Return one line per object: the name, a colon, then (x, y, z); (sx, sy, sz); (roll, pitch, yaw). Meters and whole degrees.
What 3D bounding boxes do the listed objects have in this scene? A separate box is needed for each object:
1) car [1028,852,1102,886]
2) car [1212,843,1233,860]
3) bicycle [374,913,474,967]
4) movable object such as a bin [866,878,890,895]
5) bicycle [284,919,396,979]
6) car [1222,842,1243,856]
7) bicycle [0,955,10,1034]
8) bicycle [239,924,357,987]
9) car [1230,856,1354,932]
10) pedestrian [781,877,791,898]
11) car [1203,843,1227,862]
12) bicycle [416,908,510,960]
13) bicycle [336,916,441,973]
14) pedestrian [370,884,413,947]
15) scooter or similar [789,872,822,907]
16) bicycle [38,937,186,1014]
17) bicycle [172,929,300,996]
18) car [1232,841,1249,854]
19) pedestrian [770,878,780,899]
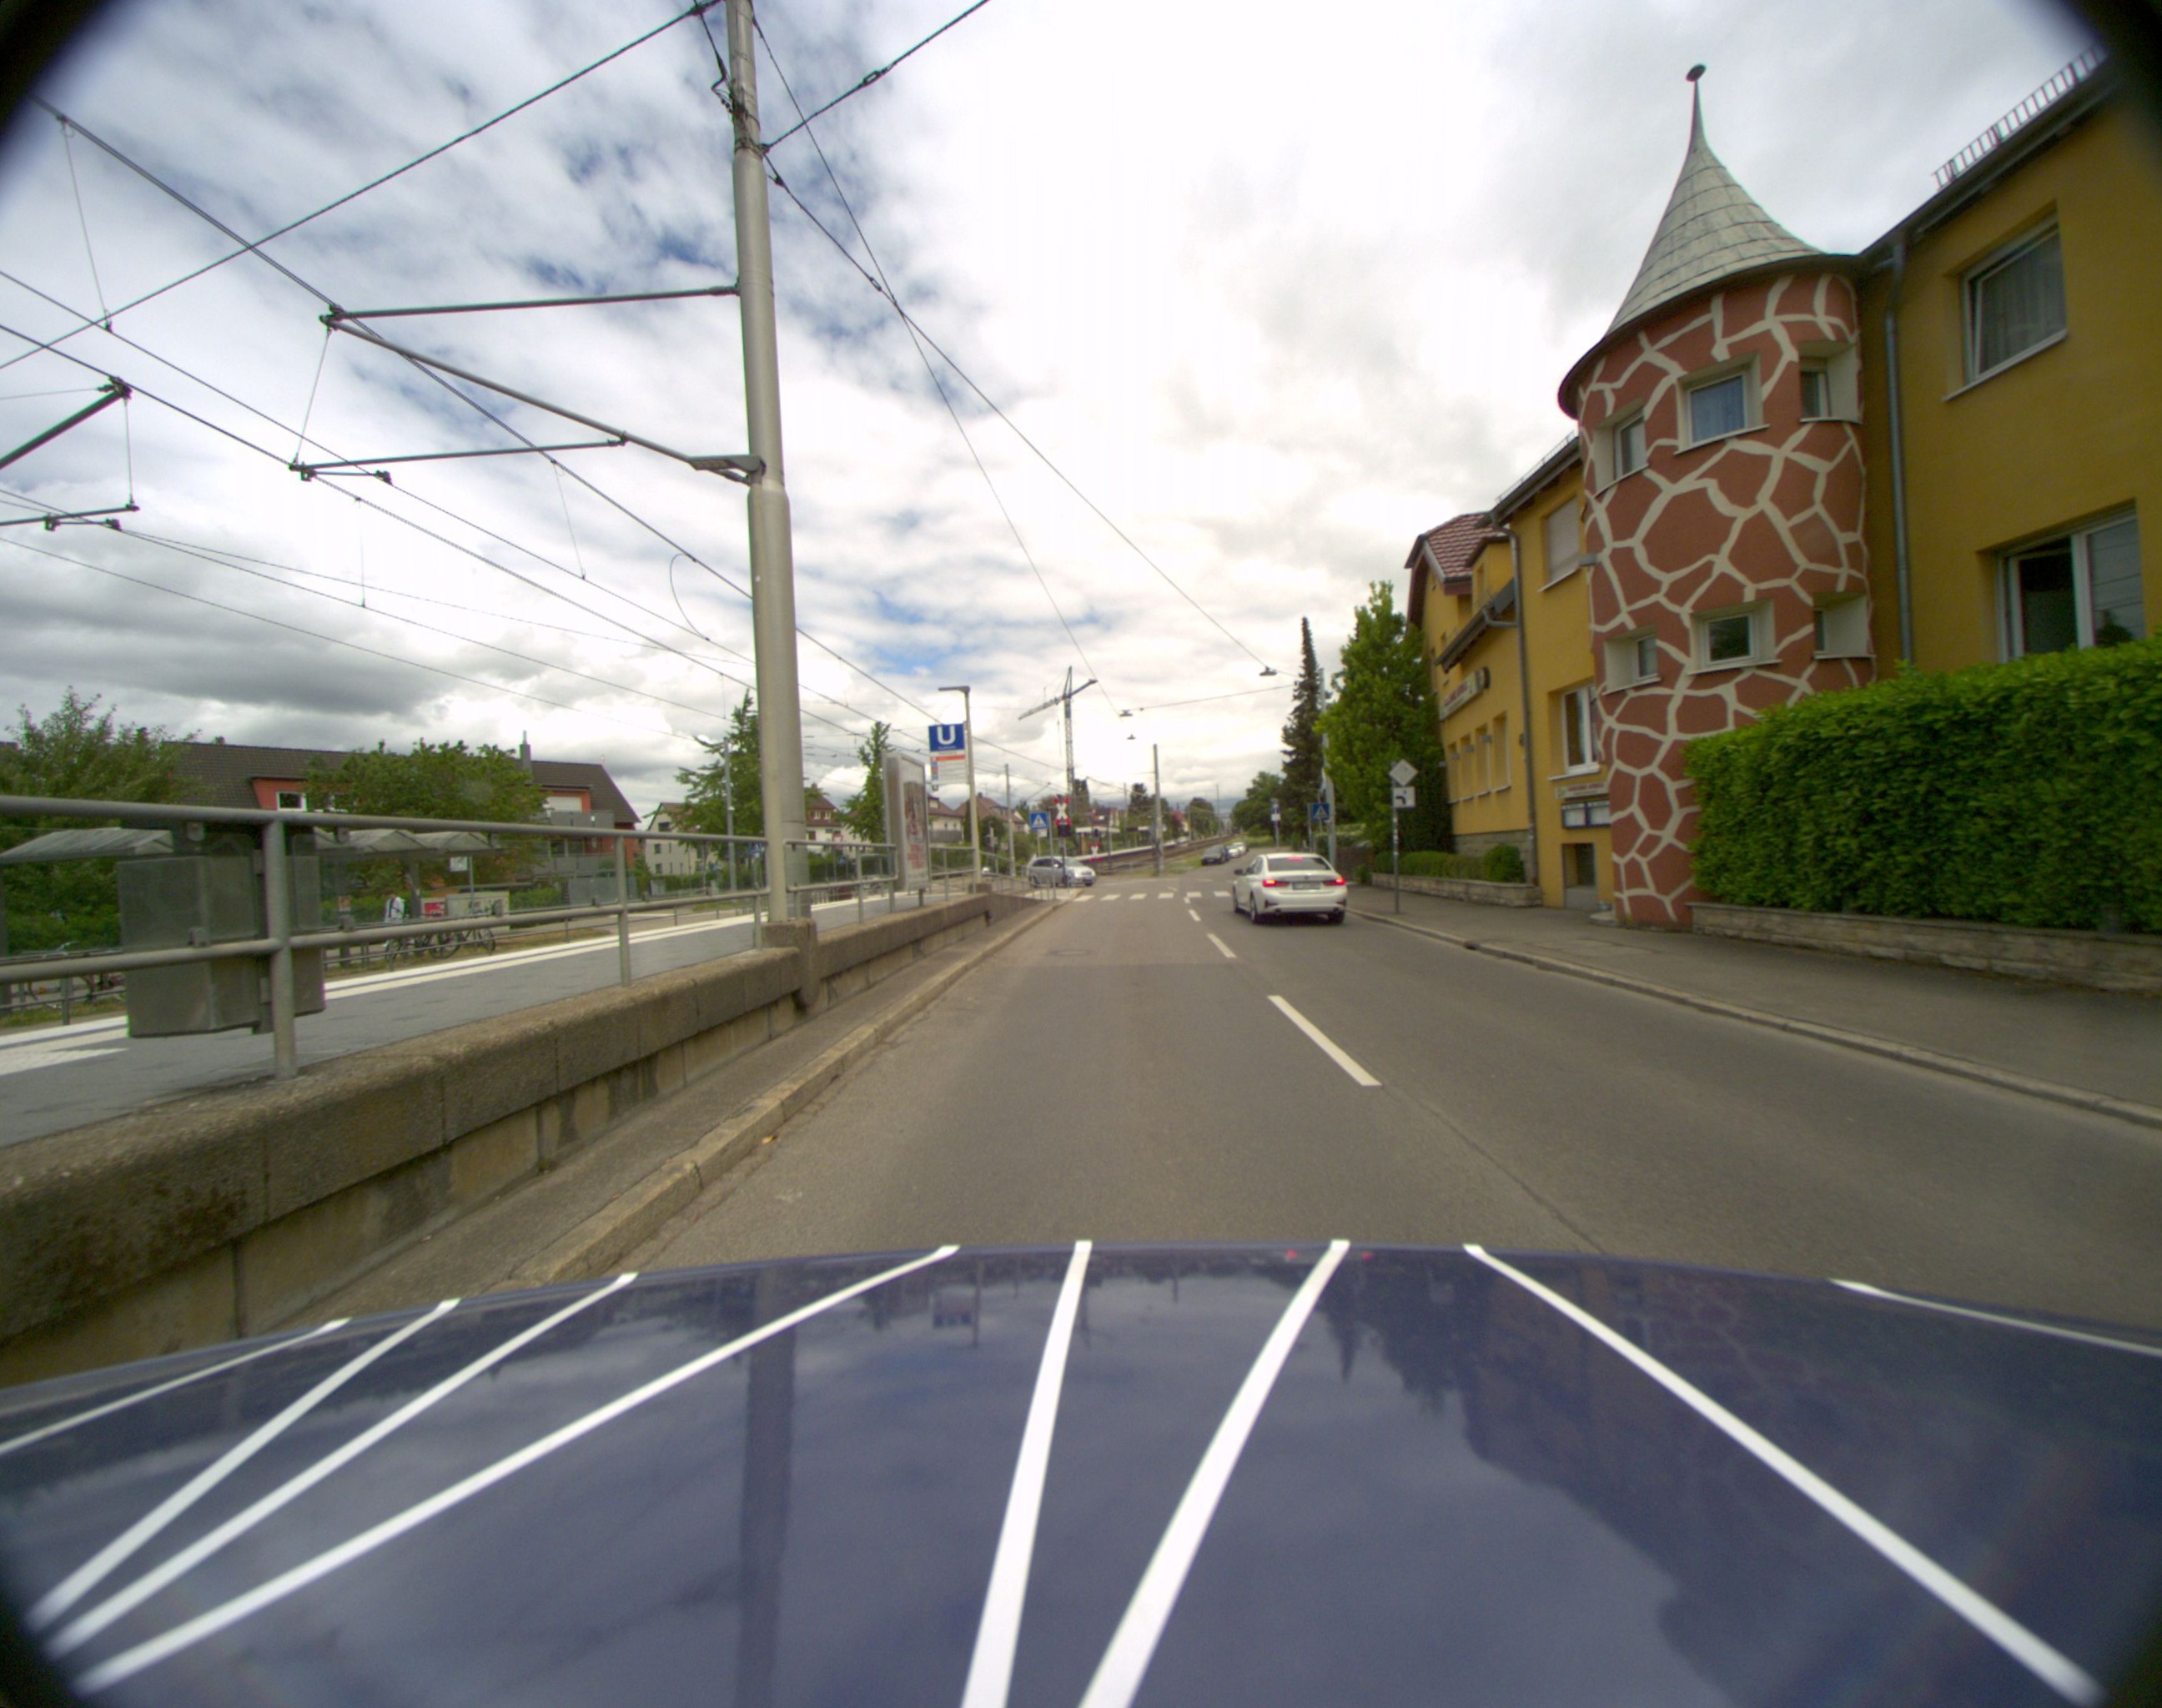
car: (-0.883, 0.790, 39.551); (1.730, 1.559, 3.918); (-4, 0, -39)
car: (13.948, -0.311, 74.739); (1.819, 1.493, 4.123); (-4, 0, 13)
bicycle: (-14.234, 1.854, 16.464); (1.768, 1.035, 0.557); (-3, 1, 8)
movable object such as a bin: (-10.773, 1.707, 40.310); (0.578, 0.820, 1.096); (-3, 1, 34)
bicycle: (-14.533, 1.856, 14.913); (1.768, 1.035, 0.557); (-3, 1, 8)
car: (16.884, -0.621, 84.444); (1.851, 1.368, 4.004); (-4, 0, 16)
bicycle: (-15.152, 1.911, 9.917); (1.768, 1.035, 0.557); (-3, 1, 8)
bicycle: (-14.632, 1.890, 14.208); (1.768, 1.035, 0.557); (-3, 1, 8)
car: (4.460, 0.774, 16.763); (1.822, 1.411, 4.464); (-1, 0, 5)
pedestrian: (-23.451, 2.658, 60.464); (0.599, 1.611, 0.676); (-6, 2, -21)
car: (12.063, -0.129, 68.265); (1.819, 1.493, 4.123); (-4, 0, 13)
bicycle: (-14.107, 1.819, 17.358); (1.768, 1.035, 0.557); (-3, 1, 8)
bicycle: (-14.337, 1.869, 15.752); (1.768, 1.035, 0.557); (-3, 1, 8)
pedestrian: (-21.674, 1.920, 23.905); (0.626, 1.903, 0.830); (-3, -1, -16)
scooter or similar: (-10.935, 1.399, 30.153); (1.049, 1.308, 0.490); (-3, -1, 10)
bicycle: (-14.963, 1.871, 11.743); (1.768, 1.035, 0.557); (-3, 1, 8)
bicycle: (-14.797, 1.898, 13.322); (1.768, 1.035, 0.557); (-3, 1, 8)
car: (20.027, -0.816, 95.318); (1.851, 1.368, 4.004); (-4, 0, 16)
pedestrian: (-24.543, 2.738, 60.900); (0.599, 1.611, 0.676); (-6, 2, -21)
